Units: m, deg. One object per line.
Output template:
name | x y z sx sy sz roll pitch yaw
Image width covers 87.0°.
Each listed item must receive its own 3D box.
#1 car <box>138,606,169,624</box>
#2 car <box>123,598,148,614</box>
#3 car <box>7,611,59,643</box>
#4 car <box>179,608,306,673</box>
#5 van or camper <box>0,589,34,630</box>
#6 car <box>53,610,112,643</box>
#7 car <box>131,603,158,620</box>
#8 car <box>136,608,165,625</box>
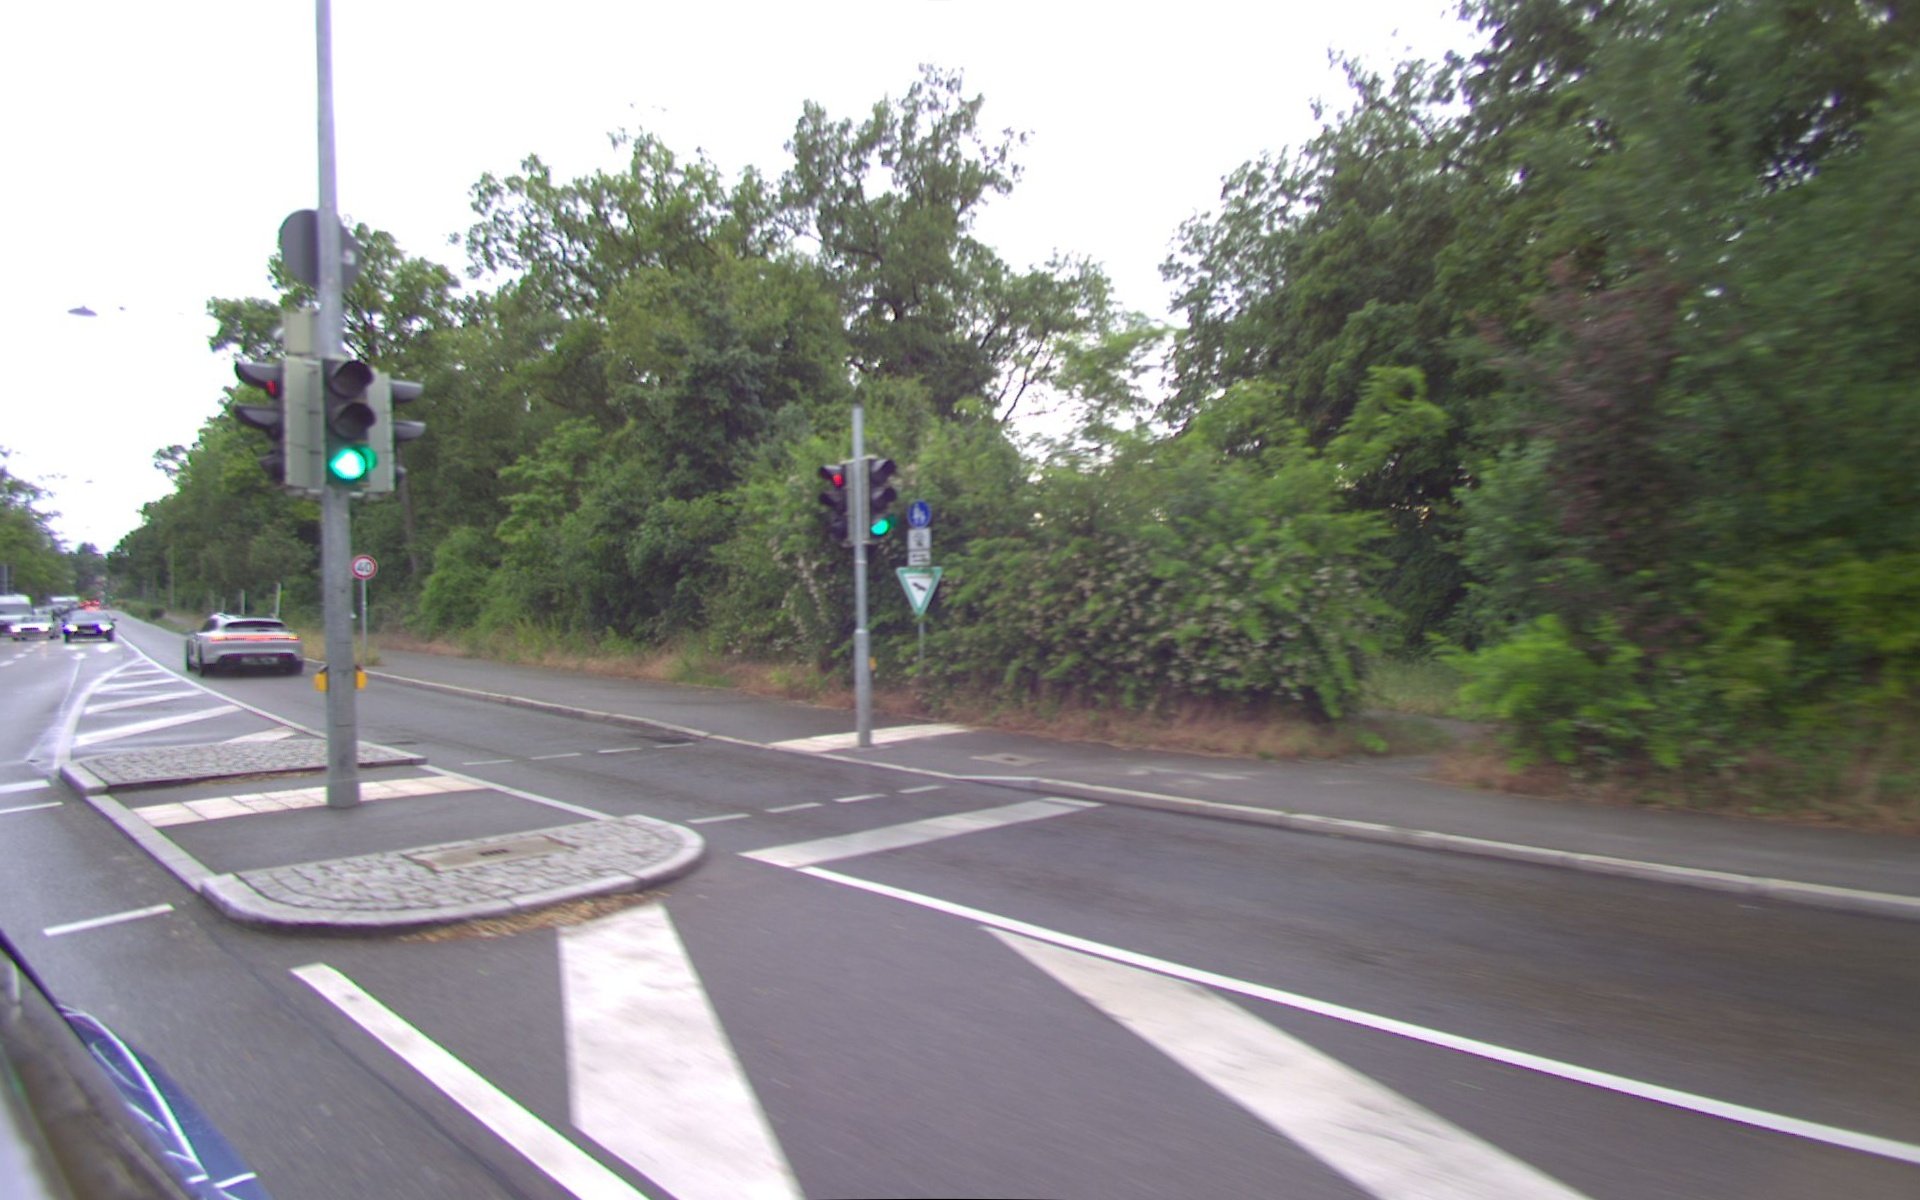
car | -73.023 1.341 91.562 1.916 1.615 4.610 2 -2 -42
car | -90.911 0.682 111.568 1.916 1.615 4.610 2 -2 -42
car | -48.806 1.395 53.331 1.916 1.615 4.610 2 -2 -42
car | -17.221 0.910 24.195 1.916 1.386 4.609 2 -2 -42
van or camper | -60.114 0.605 64.019 1.968 2.471 4.730 0 0 -39
car | -40.977 1.228 47.212 1.917 1.466 4.609 2 -2 -43
car | -82.855 1.163 102.787 1.916 1.615 4.610 2 -2 -42
car | -78.495 1.602 98.150 1.916 1.615 4.610 2 -2 -42
